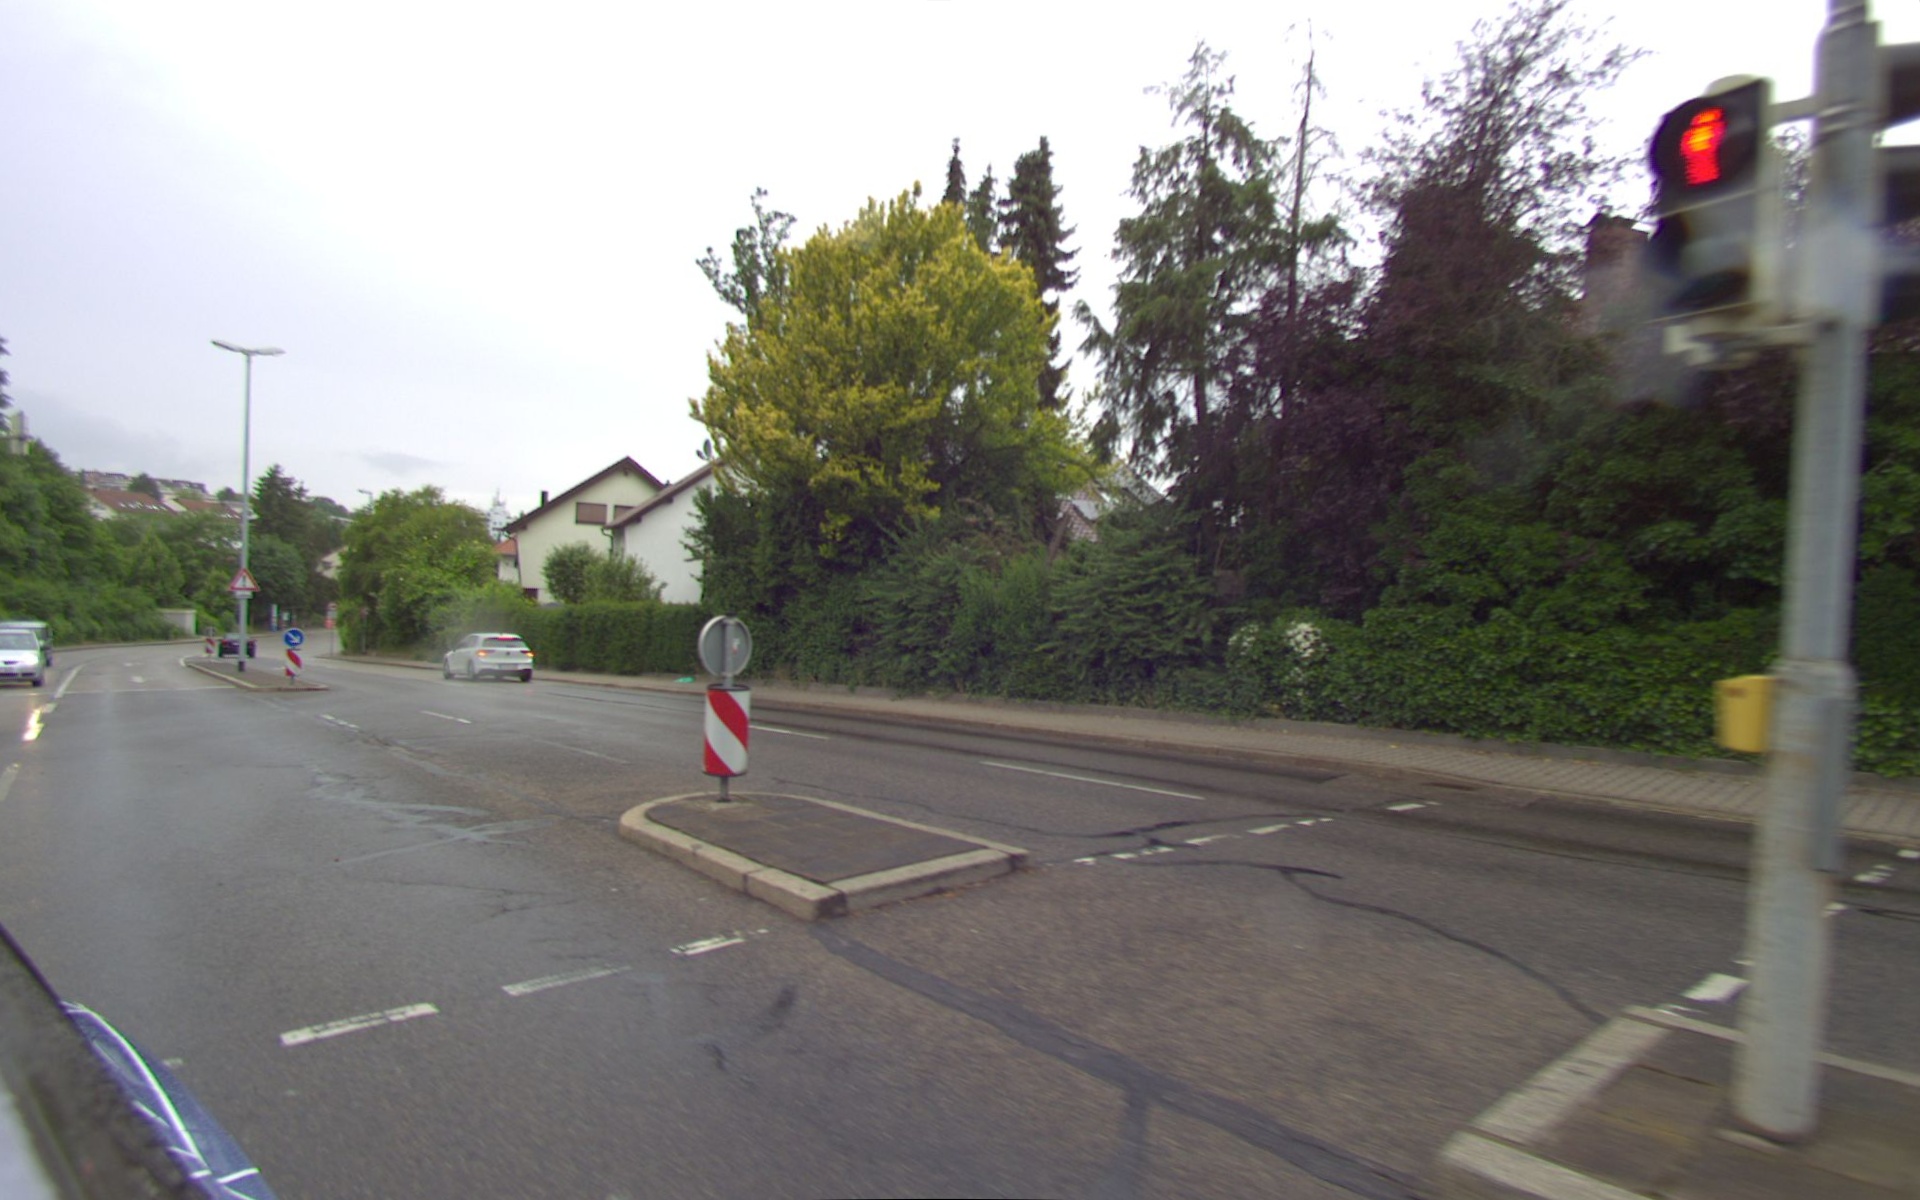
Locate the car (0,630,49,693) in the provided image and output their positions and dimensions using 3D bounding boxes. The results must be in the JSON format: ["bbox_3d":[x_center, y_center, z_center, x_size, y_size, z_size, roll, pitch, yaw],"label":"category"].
[{"bbox_3d":[-25.559,1.584,26.877,1.787,1.567,4.126,3,-3,-39],"label":"car"}]

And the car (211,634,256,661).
[{"bbox_3d":[-42.779,2.798,59.560,1.839,1.504,3.839,3,-4,-40],"label":"car"}]

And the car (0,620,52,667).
[{"bbox_3d":[-38.507,1.763,41.264,1.786,1.821,4.128,3,-3,-37],"label":"car"}]

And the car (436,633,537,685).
[{"bbox_3d":[-14.604,1.805,31.097,1.706,1.497,4.163,4,-5,-40],"label":"car"}]
